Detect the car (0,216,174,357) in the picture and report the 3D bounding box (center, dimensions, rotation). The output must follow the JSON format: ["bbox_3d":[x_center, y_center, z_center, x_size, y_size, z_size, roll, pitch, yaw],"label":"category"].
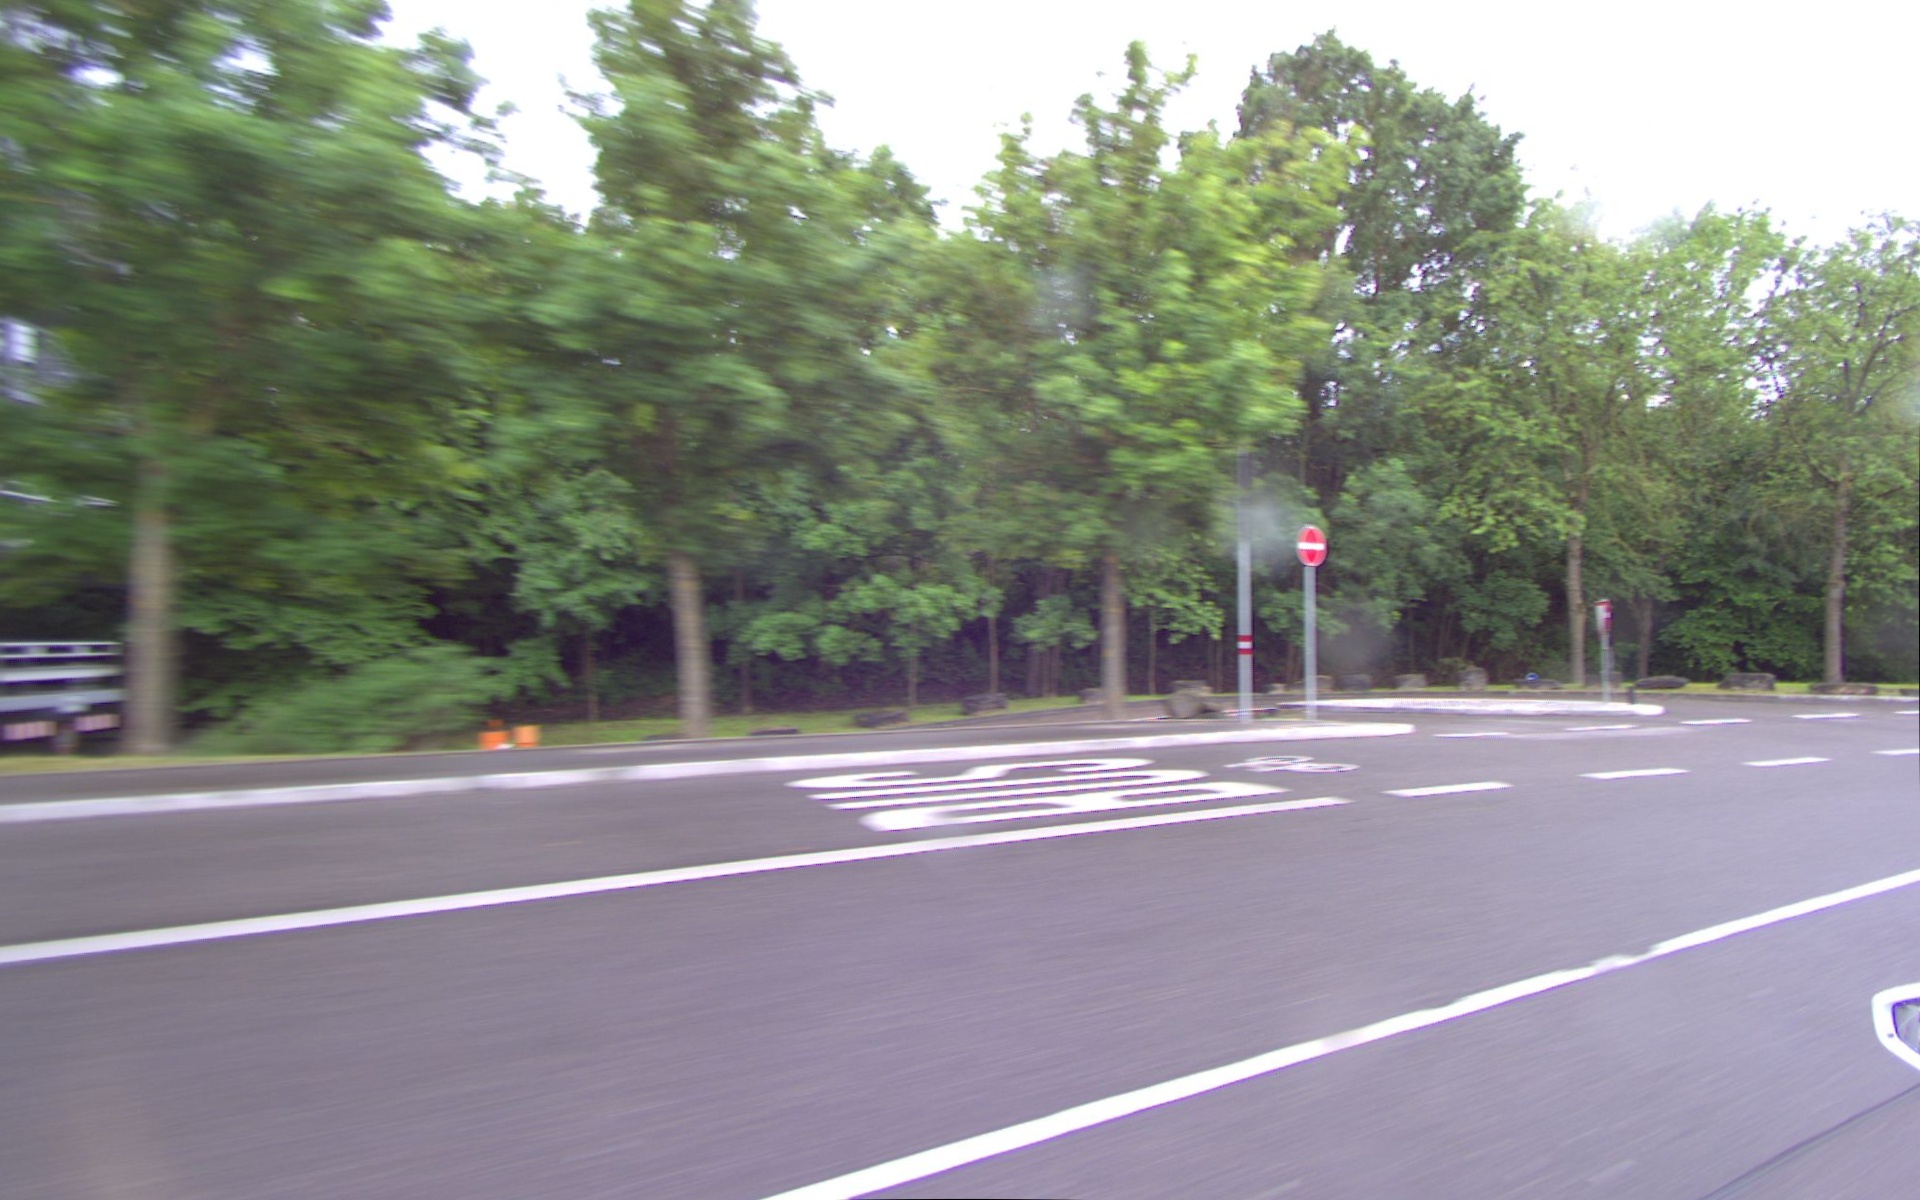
[{"bbox_3d":[-19.937,-6.897,22.510,1.964,1.795,3.994,-1,-2,-10],"label":"car"}]

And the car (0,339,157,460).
[{"bbox_3d":[-20.200,-4.341,22.333,1.964,1.795,3.994,-1,-2,-10],"label":"car"}]
